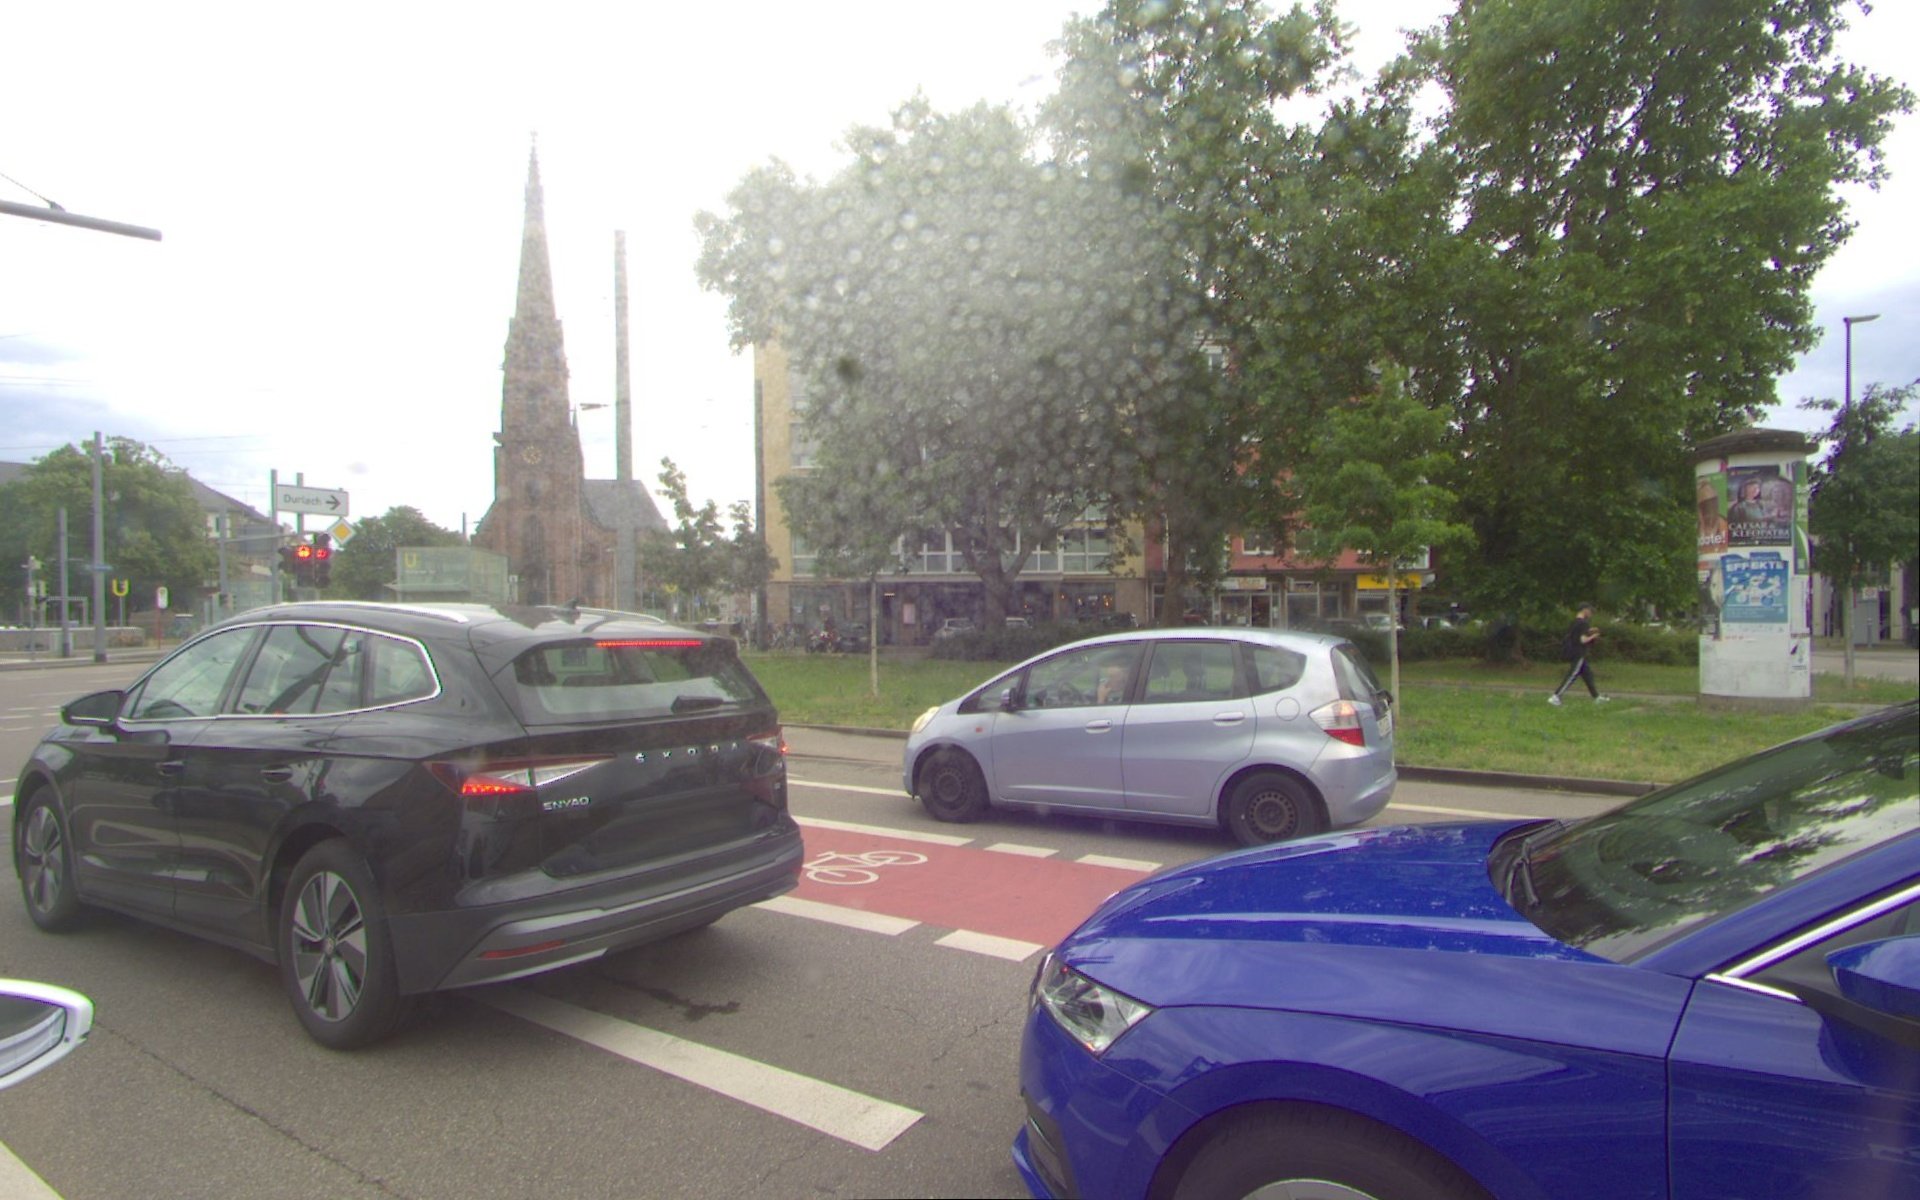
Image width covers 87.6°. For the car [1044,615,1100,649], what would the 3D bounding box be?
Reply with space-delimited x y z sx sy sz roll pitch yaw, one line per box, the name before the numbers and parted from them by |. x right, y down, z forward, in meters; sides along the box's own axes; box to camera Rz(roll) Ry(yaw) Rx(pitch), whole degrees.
car | 5.140 1.469 46.502 1.825 1.509 4.476 0 -1 -3

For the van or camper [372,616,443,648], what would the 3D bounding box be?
van or camper | -33.023 1.899 60.002 1.961 1.764 4.305 -2 -1 -3

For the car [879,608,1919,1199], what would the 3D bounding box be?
car | 2.157 0.763 1.692 4.402 1.508 1.776 -1 -1 32

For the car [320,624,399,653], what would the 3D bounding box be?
car | -32.227 2.032 53.867 1.740 1.483 4.001 -2 -1 1

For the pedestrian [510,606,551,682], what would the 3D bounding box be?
pedestrian | -11.353 1.149 26.493 0.874 1.956 1.016 0 0 -16

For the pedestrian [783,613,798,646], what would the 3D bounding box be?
pedestrian | -8.577 1.481 50.735 0.625 1.659 0.872 0 0 -1

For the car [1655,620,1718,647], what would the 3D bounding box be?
car | 46.795 2.119 64.602 1.828 1.644 4.469 -2 -1 17

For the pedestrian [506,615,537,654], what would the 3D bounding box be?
pedestrian | -21.111 1.665 48.183 1.066 1.820 0.947 -1 -1 -3

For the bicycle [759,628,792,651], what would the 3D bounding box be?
bicycle | -7.449 1.603 40.457 1.240 0.929 0.595 0 0 2

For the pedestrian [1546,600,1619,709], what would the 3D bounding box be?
pedestrian | 10.913 0.939 17.562 0.968 1.868 0.536 0 0 -11

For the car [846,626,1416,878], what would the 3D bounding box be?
car | 1.242 0.954 7.804 4.039 1.486 1.746 -1 -1 32

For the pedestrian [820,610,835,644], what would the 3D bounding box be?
pedestrian | -6.580 1.350 49.833 0.625 1.659 0.872 0 0 0

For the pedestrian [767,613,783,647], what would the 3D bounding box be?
pedestrian | -9.006 1.444 48.829 0.625 1.659 0.872 0 0 0

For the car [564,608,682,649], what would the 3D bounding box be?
car | -18.099 1.488 53.942 5.674 2.039 2.011 -1 -1 -40

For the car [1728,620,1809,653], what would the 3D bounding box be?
car | 43.527 1.962 54.022 1.828 1.644 4.469 -2 -1 17

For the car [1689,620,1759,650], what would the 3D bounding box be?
car | 45.363 2.040 59.560 1.828 1.644 4.469 -2 -1 17

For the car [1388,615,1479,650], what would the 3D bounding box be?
car | 21.975 1.481 46.683 1.825 1.568 4.476 0 -1 -5

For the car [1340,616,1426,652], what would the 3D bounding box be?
car | 19.508 1.545 46.447 1.825 1.568 4.476 0 -1 -5

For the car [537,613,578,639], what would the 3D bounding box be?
car | -32.560 2.066 81.045 1.961 2.040 4.000 0 -1 -5

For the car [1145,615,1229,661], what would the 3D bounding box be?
car | 8.234 1.347 36.675 1.825 1.568 4.476 0 -1 -3

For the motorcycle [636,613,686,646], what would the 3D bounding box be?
motorcycle | -11.116 1.095 37.334 0.753 1.183 2.385 0 -1 12

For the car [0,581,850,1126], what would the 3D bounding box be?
car | -2.842 0.796 4.902 4.444 1.617 1.774 -1 -1 31

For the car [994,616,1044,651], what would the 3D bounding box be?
car | 2.668 1.513 46.199 1.825 1.509 4.476 0 -1 -3

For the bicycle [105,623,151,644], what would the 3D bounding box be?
bicycle | -55.435 2.238 66.739 0.699 1.348 2.252 -2 -1 39

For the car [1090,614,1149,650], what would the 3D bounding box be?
car | 7.380 1.469 46.696 1.825 1.568 4.476 0 -1 -3

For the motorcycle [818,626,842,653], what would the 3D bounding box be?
motorcycle | -5.094 1.548 39.329 0.858 1.010 1.014 0 -1 -12

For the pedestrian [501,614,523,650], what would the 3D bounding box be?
pedestrian | -20.730 1.465 46.322 0.625 1.659 0.872 0 0 -1

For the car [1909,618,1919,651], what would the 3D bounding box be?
car | 46.504 1.609 46.346 1.865 1.568 4.469 -2 -1 17

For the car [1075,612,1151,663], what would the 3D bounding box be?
car | 5.499 1.331 36.476 1.825 1.745 4.476 0 -1 -3

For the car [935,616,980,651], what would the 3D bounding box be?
car | -0.149 1.503 46.152 1.825 1.509 4.476 0 -1 -3
